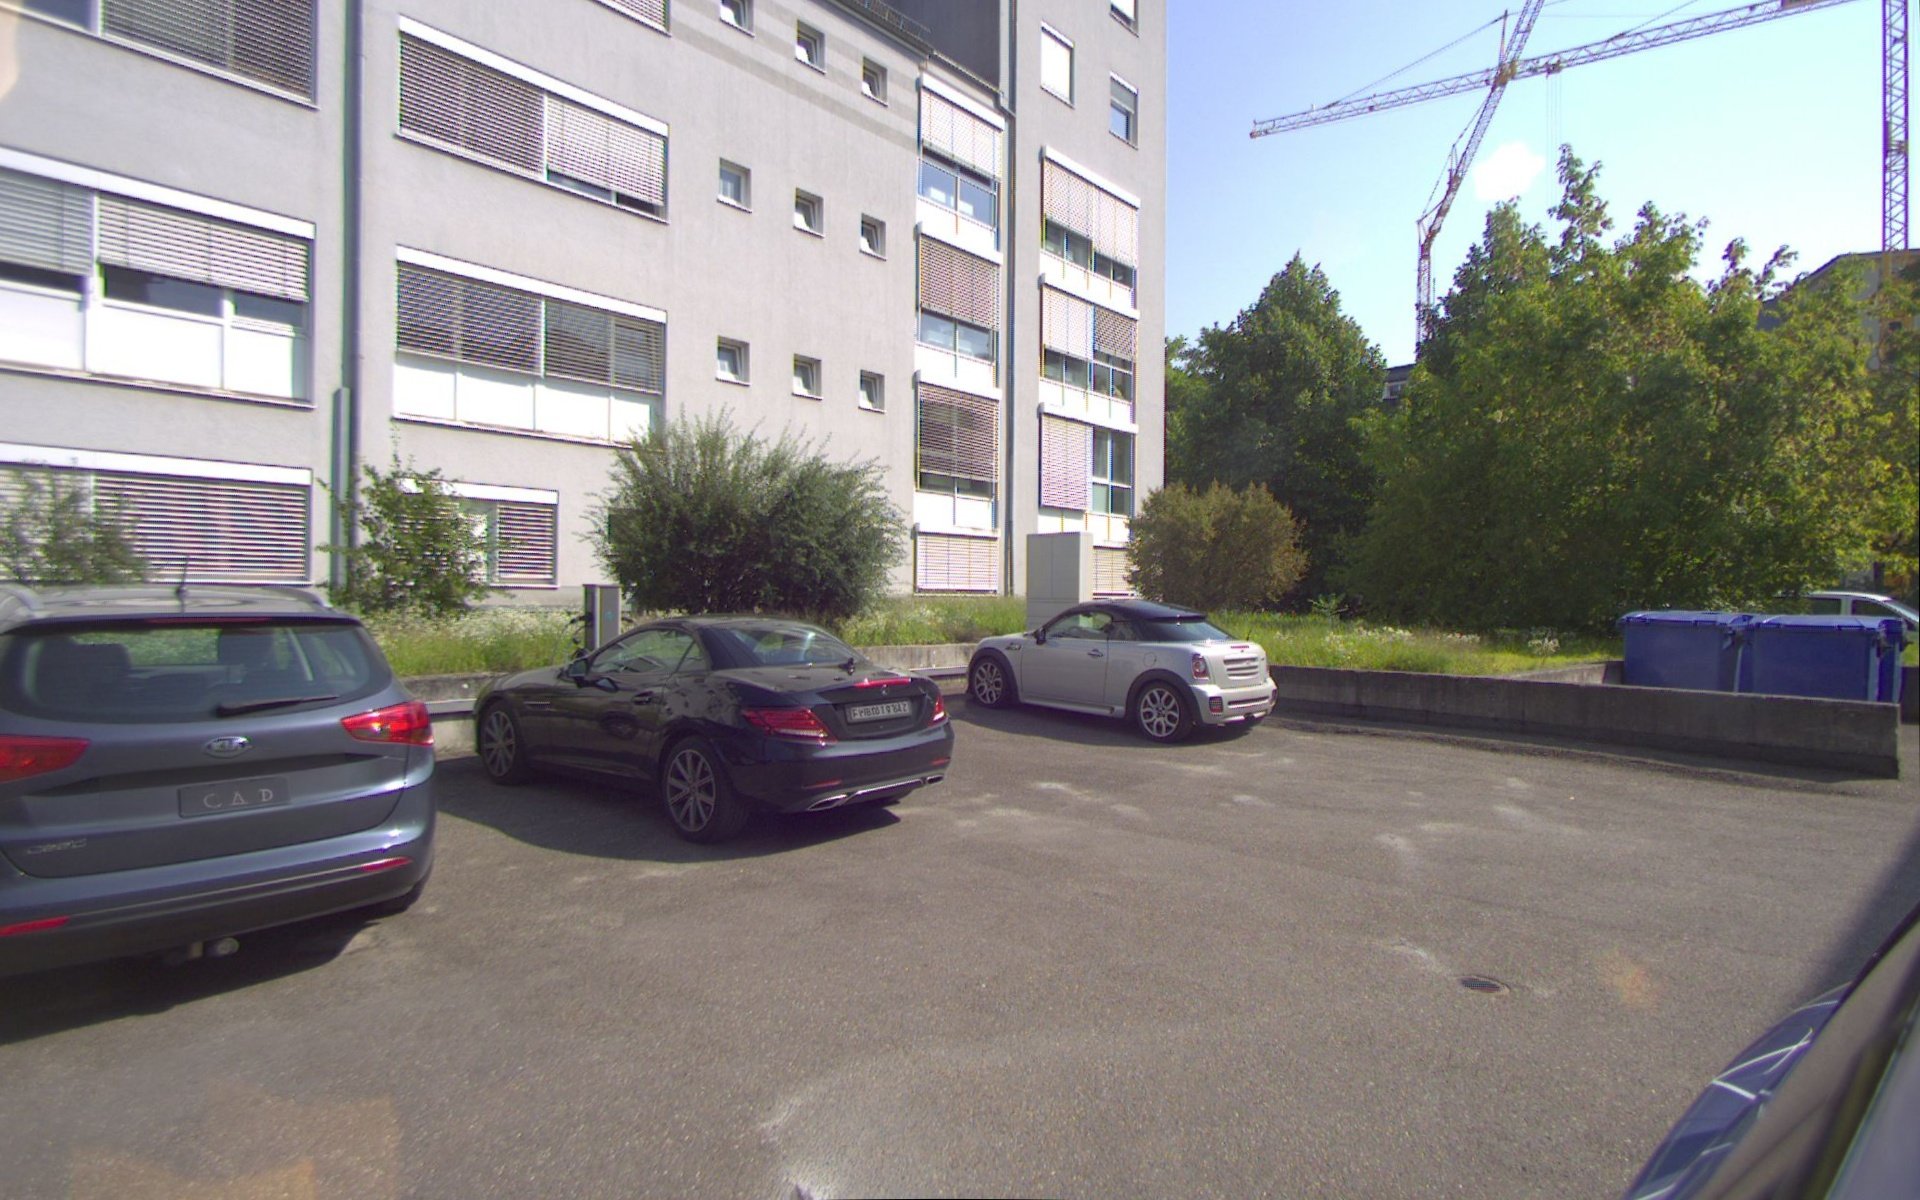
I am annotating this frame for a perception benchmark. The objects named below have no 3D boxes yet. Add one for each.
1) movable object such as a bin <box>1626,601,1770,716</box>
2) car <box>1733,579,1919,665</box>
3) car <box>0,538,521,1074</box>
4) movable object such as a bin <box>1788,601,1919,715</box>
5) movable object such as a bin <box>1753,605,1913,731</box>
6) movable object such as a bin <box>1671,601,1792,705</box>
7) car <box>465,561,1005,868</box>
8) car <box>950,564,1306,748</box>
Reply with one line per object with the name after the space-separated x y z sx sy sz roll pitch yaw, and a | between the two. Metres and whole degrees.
9.433 0.699 12.944 1.096 1.357 1.238 0 0 -38 | movable object such as a bin
21.876 0.480 24.267 2.007 1.945 4.968 -1 0 -39 | car
-3.833 0.606 4.857 3.862 1.609 1.850 0 0 44 | car
11.573 0.699 13.035 1.082 1.357 1.310 0 0 -44 | movable object such as a bin
10.269 0.745 11.910 1.174 1.357 1.302 0 0 -42 | movable object such as a bin
10.708 0.693 14.050 1.226 1.357 1.060 0 0 44 | movable object such as a bin
-1.744 0.587 7.256 3.793 1.609 1.870 0 0 39 | car
1.787 0.481 11.526 1.772 1.563 3.625 0 5 -43 | car
